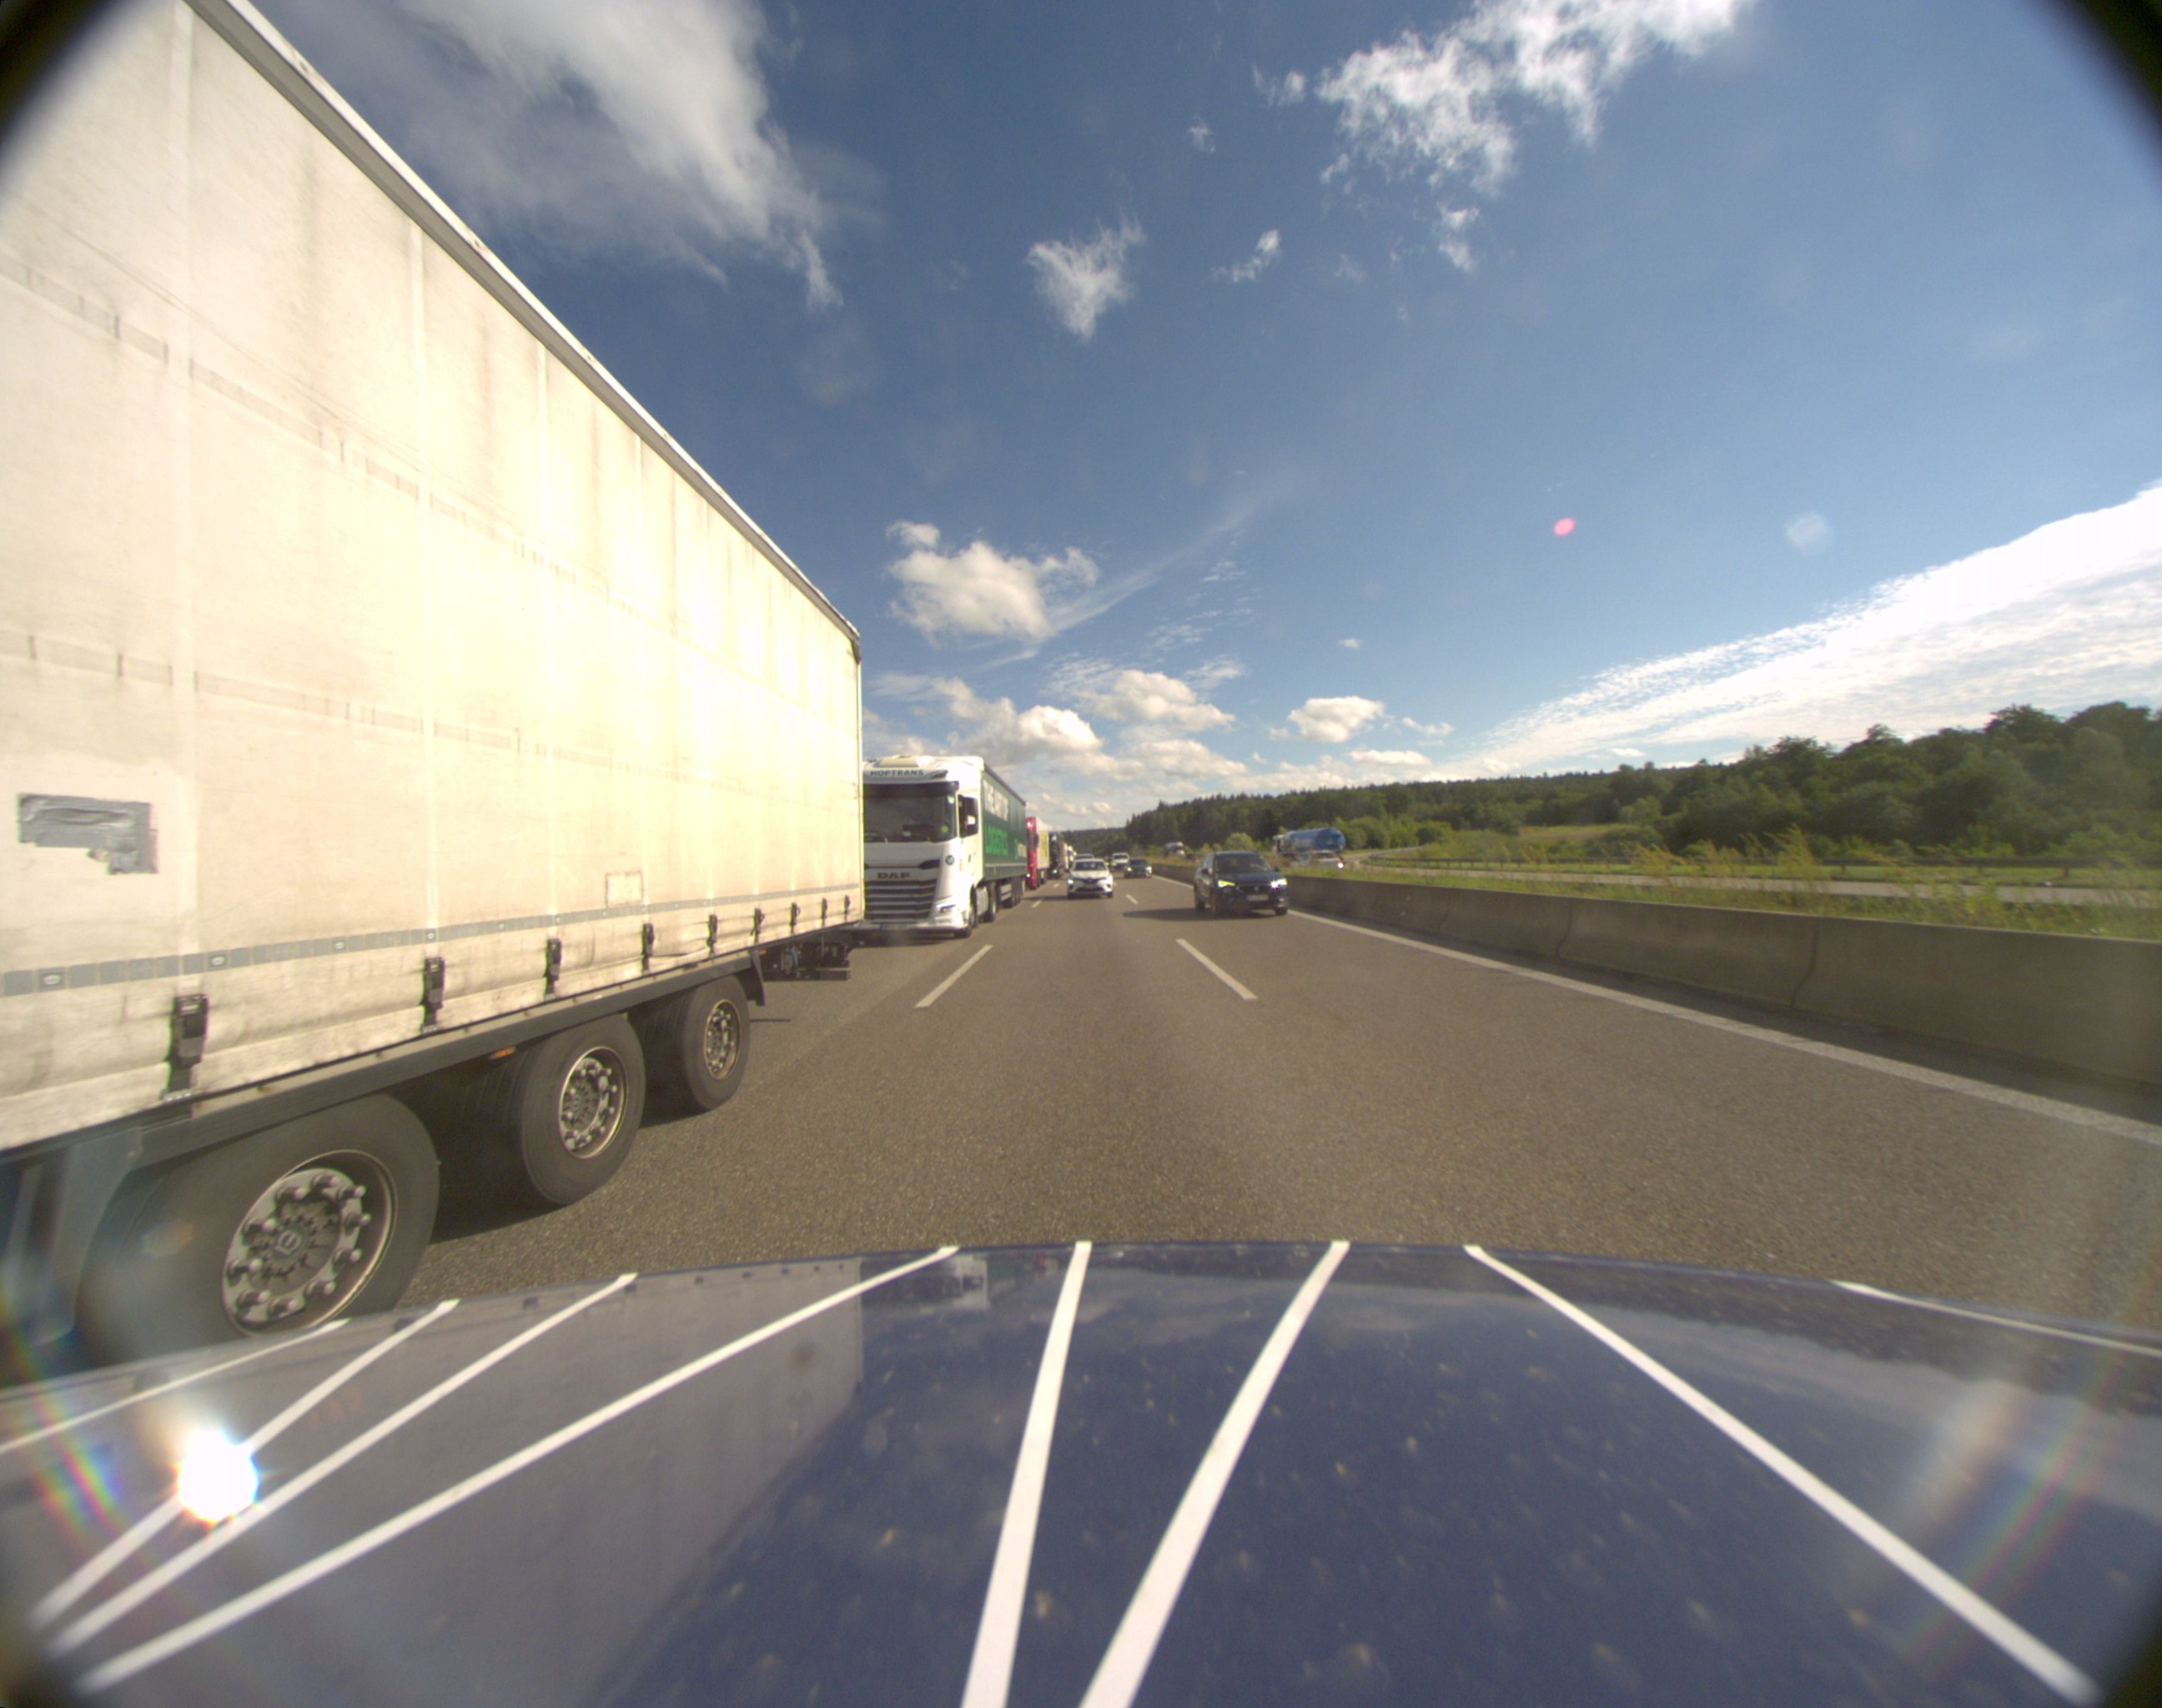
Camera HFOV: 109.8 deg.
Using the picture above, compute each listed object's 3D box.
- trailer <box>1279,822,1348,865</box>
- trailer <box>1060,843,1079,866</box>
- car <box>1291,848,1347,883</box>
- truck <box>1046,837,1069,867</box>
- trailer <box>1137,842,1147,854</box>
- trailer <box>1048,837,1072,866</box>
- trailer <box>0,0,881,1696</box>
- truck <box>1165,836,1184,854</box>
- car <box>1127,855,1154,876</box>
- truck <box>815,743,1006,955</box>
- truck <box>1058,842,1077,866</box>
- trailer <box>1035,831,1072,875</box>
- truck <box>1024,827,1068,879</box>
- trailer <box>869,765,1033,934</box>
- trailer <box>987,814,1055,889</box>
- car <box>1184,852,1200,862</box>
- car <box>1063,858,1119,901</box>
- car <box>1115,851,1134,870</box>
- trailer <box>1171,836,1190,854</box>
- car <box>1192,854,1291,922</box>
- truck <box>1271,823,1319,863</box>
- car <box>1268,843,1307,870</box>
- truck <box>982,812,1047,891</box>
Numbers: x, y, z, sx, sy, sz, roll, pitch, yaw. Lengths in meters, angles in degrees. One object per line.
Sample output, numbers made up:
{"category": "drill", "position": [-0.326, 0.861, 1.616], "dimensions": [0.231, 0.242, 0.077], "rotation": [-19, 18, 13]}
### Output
{"category": "trailer", "position": [19.440, -0.787, 64.309], "dimensions": [2.327, 3.265, 10.875], "rotation": [-2, 0, 0]}
{"category": "trailer", "position": [-2.135, 0.003, 142.301], "dimensions": [2.652, 3.911, 11.175], "rotation": [-5, 0, 2]}
{"category": "car", "position": [12.316, 0.568, 39.582], "dimensions": [1.675, 1.615, 3.766], "rotation": [-5, 0, 1]}
{"category": "truck", "position": [-3.383, -0.350, 112.731], "dimensions": [2.654, 4.065, 6.491], "rotation": [-5, 0, 2]}
{"category": "trailer", "position": [21.417, -2.214, 268.053], "dimensions": [2.839, 3.969, 13.550], "rotation": [-3, 0, 3]}
{"category": "trailer", "position": [-3.211, -0.370, 120.124], "dimensions": [2.648, 4.074, 13.980], "rotation": [-5, 0, 1]}
{"category": "trailer", "position": [-3.578, -0.300, 1.536], "dimensions": [2.709, 4.058, 12.944], "rotation": [-1, 0, 1]}
{"category": "truck", "position": [20.768, -1.924, 168.618], "dimensions": [2.838, 3.667, 11.131], "rotation": [-2, 0, 1]}
{"category": "car", "position": [4.431, 0.853, 57.234], "dimensions": [1.779, 1.451, 4.158], "rotation": [-1, 0, 1]}
{"category": "truck", "position": [-3.513, -0.108, 17.620], "dimensions": [2.653, 3.846, 6.995], "rotation": [-2, 0, 1]}
{"category": "truck", "position": [-2.367, -0.018, 135.742], "dimensions": [2.655, 3.901, 6.943], "rotation": [-5, 0, 2]}
{"category": "trailer", "position": [-2.607, -0.055, 75.702], "dimensions": [2.722, 3.937, 8.712], "rotation": [-5, 0, 2]}
{"category": "truck", "position": [-2.934, -0.113, 66.308], "dimensions": [2.747, 4.015, 10.202], "rotation": [-5, 0, 2]}
{"category": "trailer", "position": [-3.442, -0.148, 24.341], "dimensions": [2.668, 3.846, 13.394], "rotation": [-2, 0, 1]}
{"category": "trailer", "position": [-3.470, -0.181, 47.652], "dimensions": [2.798, 3.916, 13.069], "rotation": [-3, 0, 1]}
{"category": "car", "position": [15.569, 0.436, 106.420], "dimensions": [1.694, 1.274, 3.708], "rotation": [-5, 0, 1]}
{"category": "car", "position": [0.478, 0.973, 30.910], "dimensions": [2.026, 1.510, 5.299], "rotation": [-2, 0, 2]}
{"category": "car", "position": [4.544, 0.703, 80.032], "dimensions": [1.779, 1.923, 4.214], "rotation": [-1, 0, 1]}
{"category": "trailer", "position": [20.687, -1.792, 158.534], "dimensions": [2.806, 3.508, 8.953], "rotation": [-2, 0, 1]}
{"category": "car", "position": [4.092, 0.813, 19.995], "dimensions": [1.779, 1.533, 4.158], "rotation": [-1, 0, 1]}
{"category": "truck", "position": [19.404, -0.986, 69.226], "dimensions": [2.323, 3.255, 6.104], "rotation": [-5, 0, 0]}
{"category": "car", "position": [15.428, 0.174, 56.988], "dimensions": [1.764, 1.871, 4.000], "rotation": [-5, 0, 1]}
{"category": "truck", "position": [-3.563, -0.161, 41.882], "dimensions": [2.809, 3.916, 5.825], "rotation": [-3, 1, 1]}
